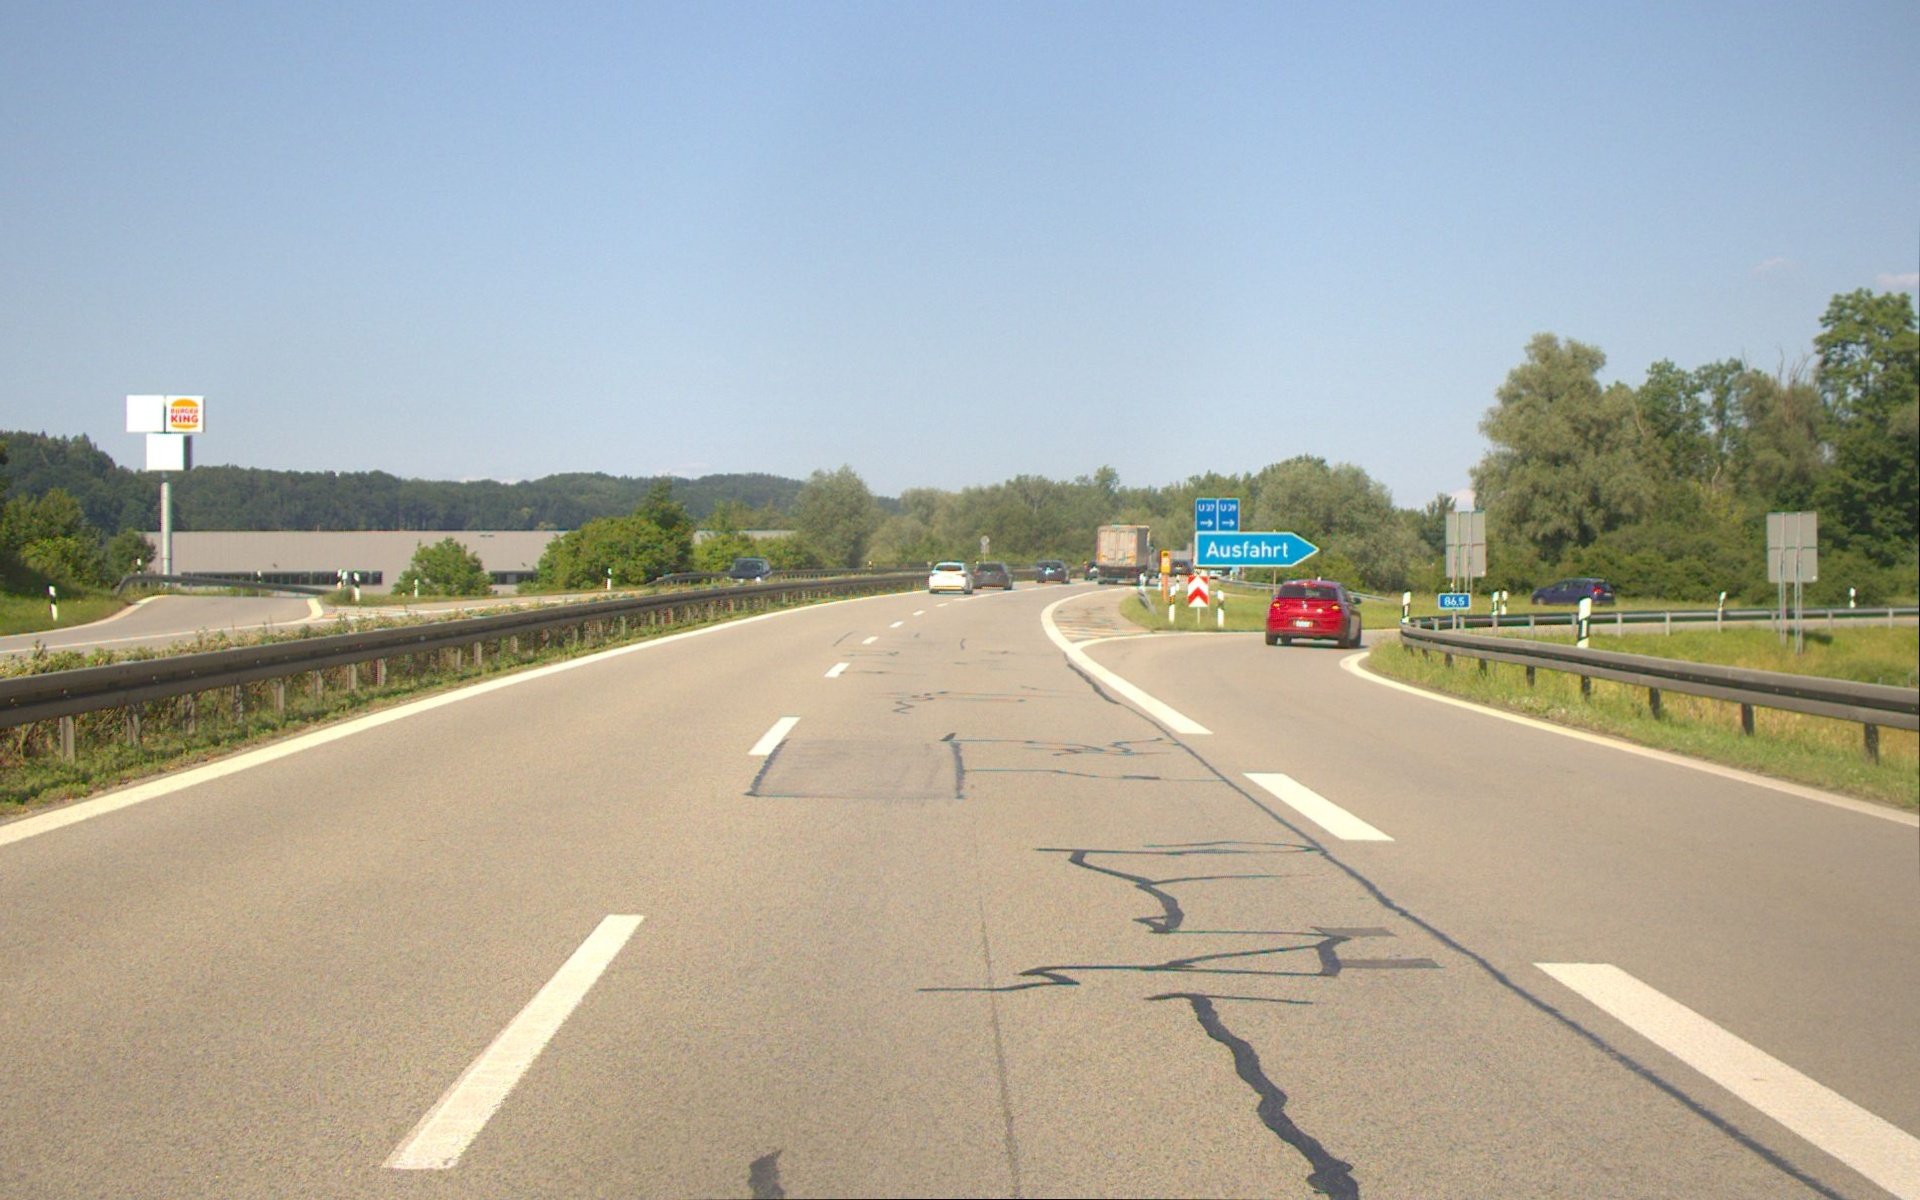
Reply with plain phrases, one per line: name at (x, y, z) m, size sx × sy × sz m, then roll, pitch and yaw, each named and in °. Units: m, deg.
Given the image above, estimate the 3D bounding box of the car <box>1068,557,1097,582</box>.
car at (8.846, -2.214, 248.641) m, size 1.993 × 1.744 × 4.000 m, roll 0°, pitch 1°, yaw 2°

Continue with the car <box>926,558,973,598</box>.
car at (-0.474, -0.967, 153.431) m, size 2.061 × 1.619 × 4.000 m, roll -1°, pitch -2°, yaw 0°

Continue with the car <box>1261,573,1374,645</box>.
car at (7.752, 0.210, 74.258) m, size 1.785 × 1.426 × 3.997 m, roll 3°, pitch 0°, yaw 15°

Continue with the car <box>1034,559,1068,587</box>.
car at (5.790, -1.739, 219.108) m, size 1.993 × 1.744 × 4.000 m, roll 0°, pitch 1°, yaw -1°

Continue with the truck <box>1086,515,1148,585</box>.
truck at (10.268, -3.277, 226.137) m, size 3.838 × 4.382 × 11.471 m, roll -1°, pitch 1°, yaw 2°

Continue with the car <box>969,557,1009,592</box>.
car at (1.483, -1.333, 177.022) m, size 1.993 × 1.744 × 4.000 m, roll 0°, pitch 1°, yaw -1°

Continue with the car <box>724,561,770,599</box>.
car at (-9.871, -0.918, 159.677) m, size 1.879 × 1.619 × 4.000 m, roll -1°, pitch -2°, yaw 0°

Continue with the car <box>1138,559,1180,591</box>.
car at (10.888, -1.385, 188.372) m, size 1.993 × 1.744 × 4.000 m, roll 0°, pitch 1°, yaw -1°
